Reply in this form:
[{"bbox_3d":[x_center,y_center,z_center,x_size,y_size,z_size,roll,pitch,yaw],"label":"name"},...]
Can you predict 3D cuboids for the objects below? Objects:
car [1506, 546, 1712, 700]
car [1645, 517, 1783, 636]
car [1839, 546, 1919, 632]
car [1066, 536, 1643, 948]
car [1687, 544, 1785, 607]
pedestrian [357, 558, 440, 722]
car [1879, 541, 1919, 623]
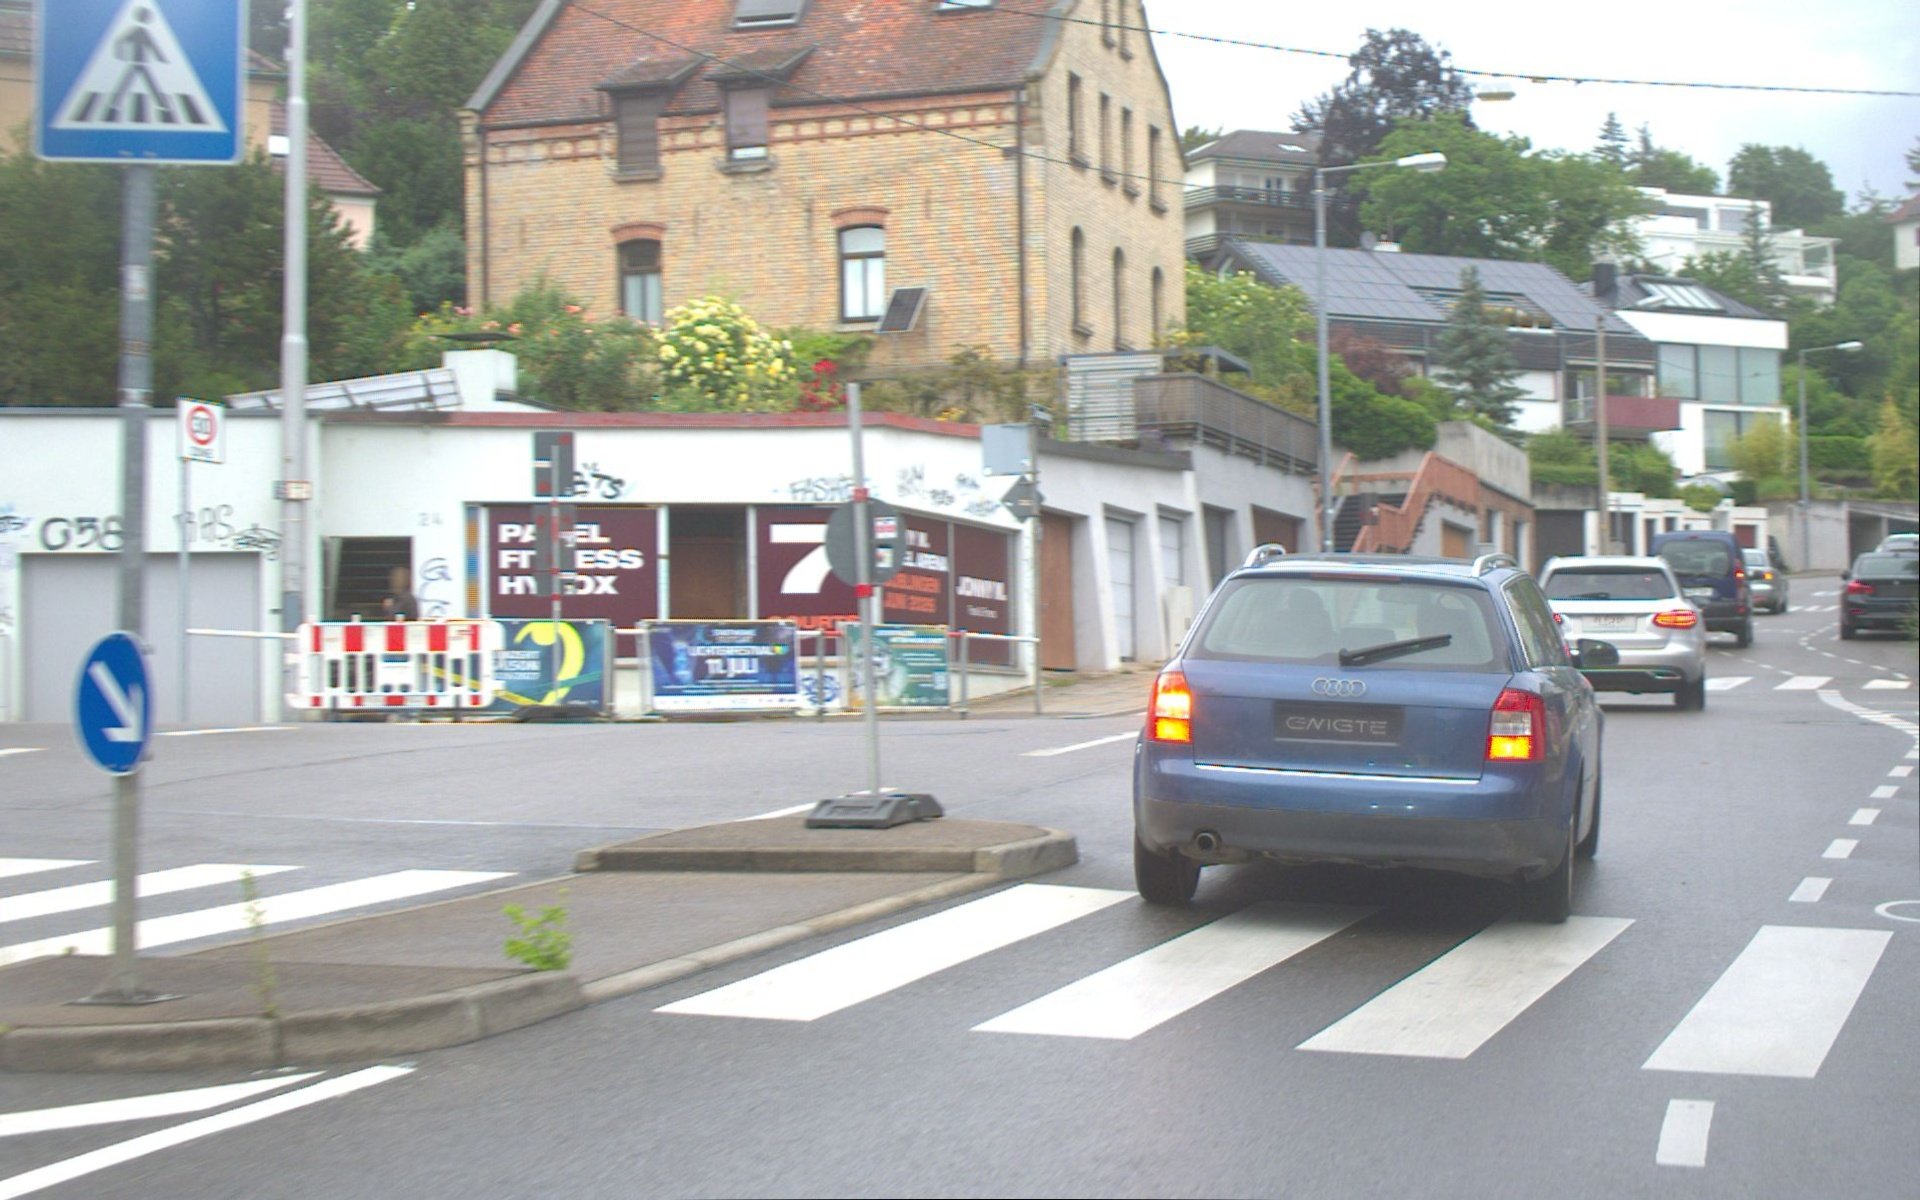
[{"bbox_3d":[6.259,0.241,32.973,1.812,1.356,3.998,1,-1,12],"label":"car"},{"bbox_3d":[12.004,-0.398,54.594,1.825,1.813,3.997,0,1,17],"label":"car"},{"bbox_3d":[15.656,-0.209,57.619,1.772,1.373,4.346,0,1,14],"label":"car"},{"bbox_3d":[1.824,0.477,14.619,1.812,1.434,4.079,0,2,16],"label":"car"},{"bbox_3d":[16.779,-0.534,74.184,1.825,1.292,3.997,0,1,16],"label":"car"},{"bbox_3d":[-5.868,0.420,35.914,0.582,1.683,0.626,-2,-1,-37],"label":"pedestrian"},{"bbox_3d":[17.695,-0.348,62.650,1.716,1.445,3.831,0,1,13],"label":"car"}]
